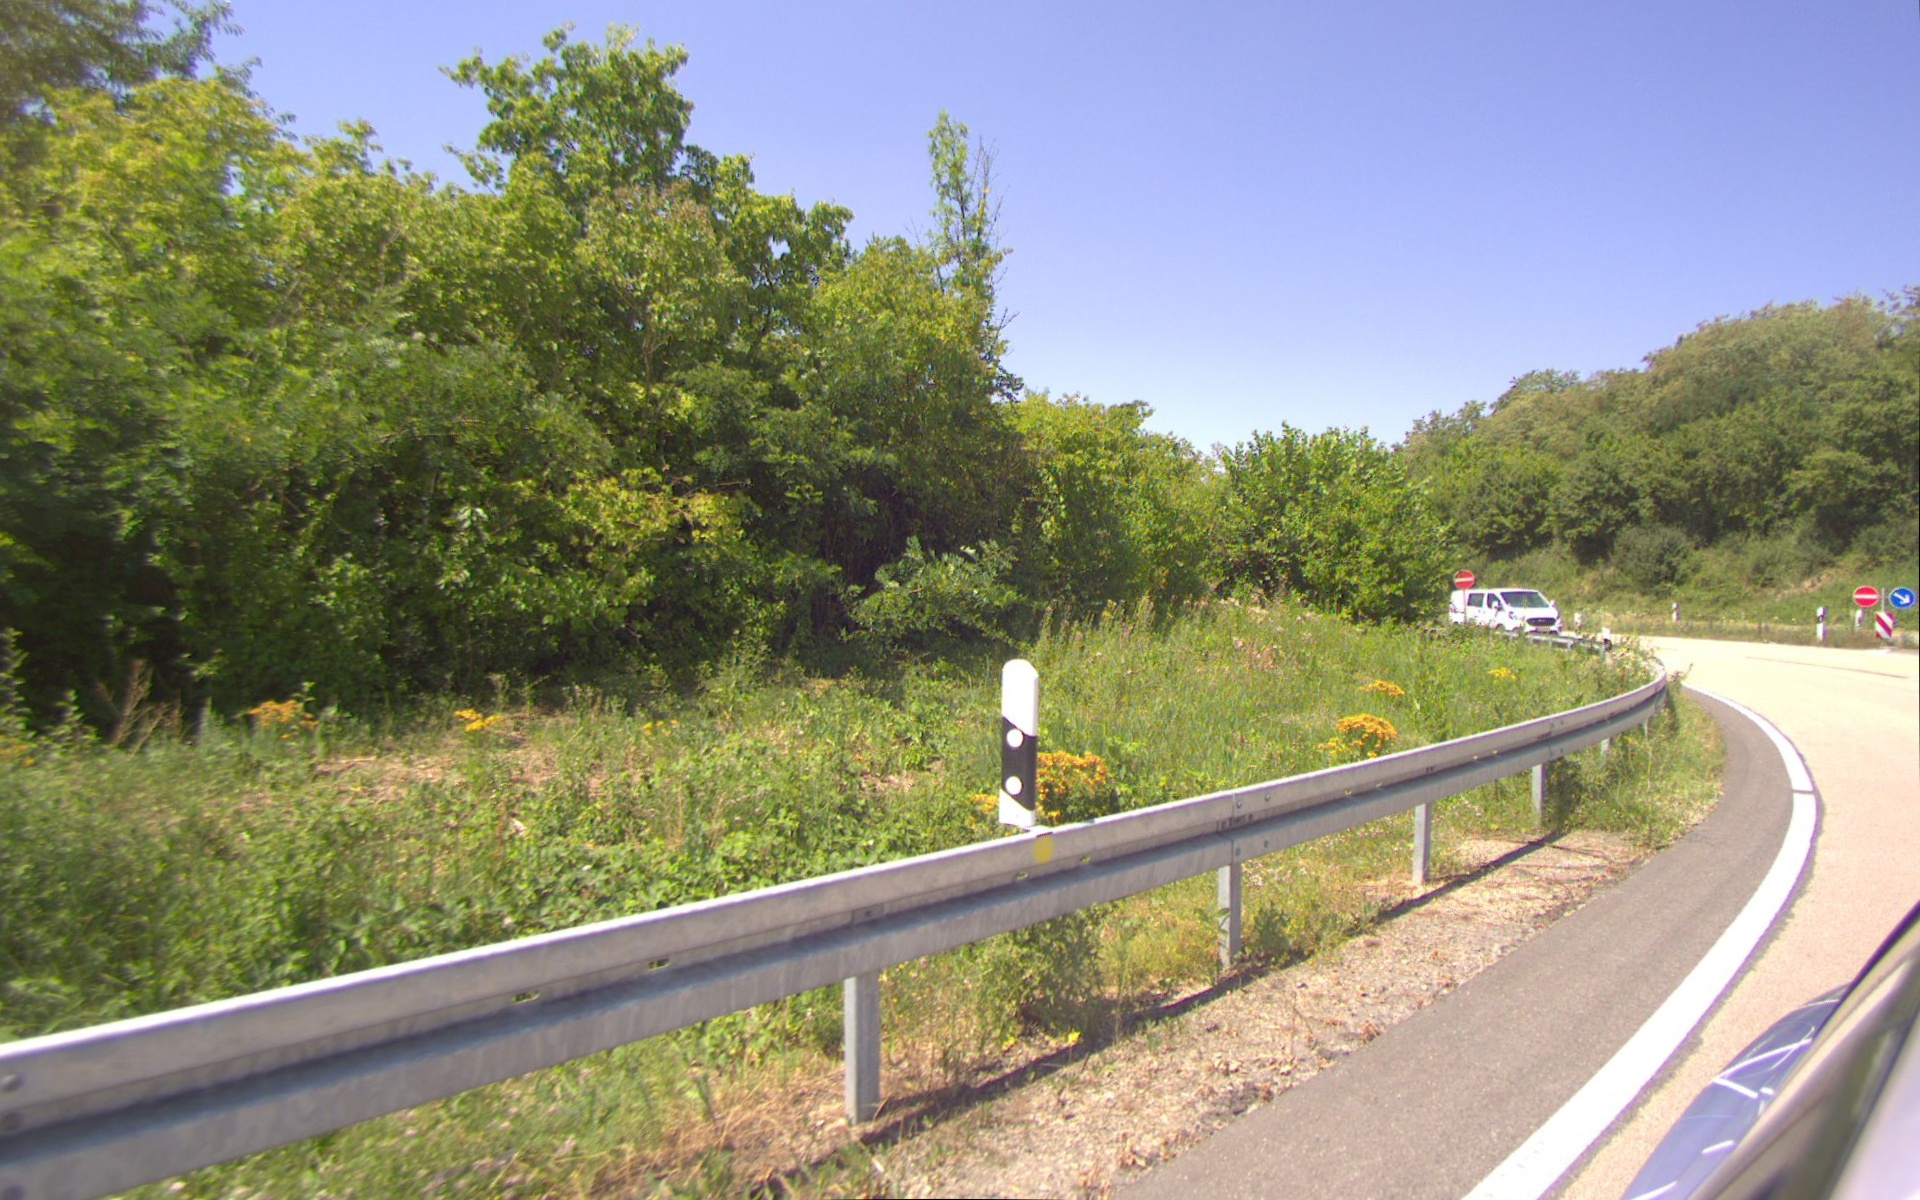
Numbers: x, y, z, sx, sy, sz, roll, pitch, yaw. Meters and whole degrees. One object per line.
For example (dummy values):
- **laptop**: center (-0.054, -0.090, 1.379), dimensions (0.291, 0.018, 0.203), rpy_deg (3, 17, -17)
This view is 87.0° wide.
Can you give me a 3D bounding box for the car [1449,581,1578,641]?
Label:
- **car**: center (20.554, 0.375, 37.892), dimensions (2.025, 2.039, 5.040), rpy_deg (-1, 0, 0)
